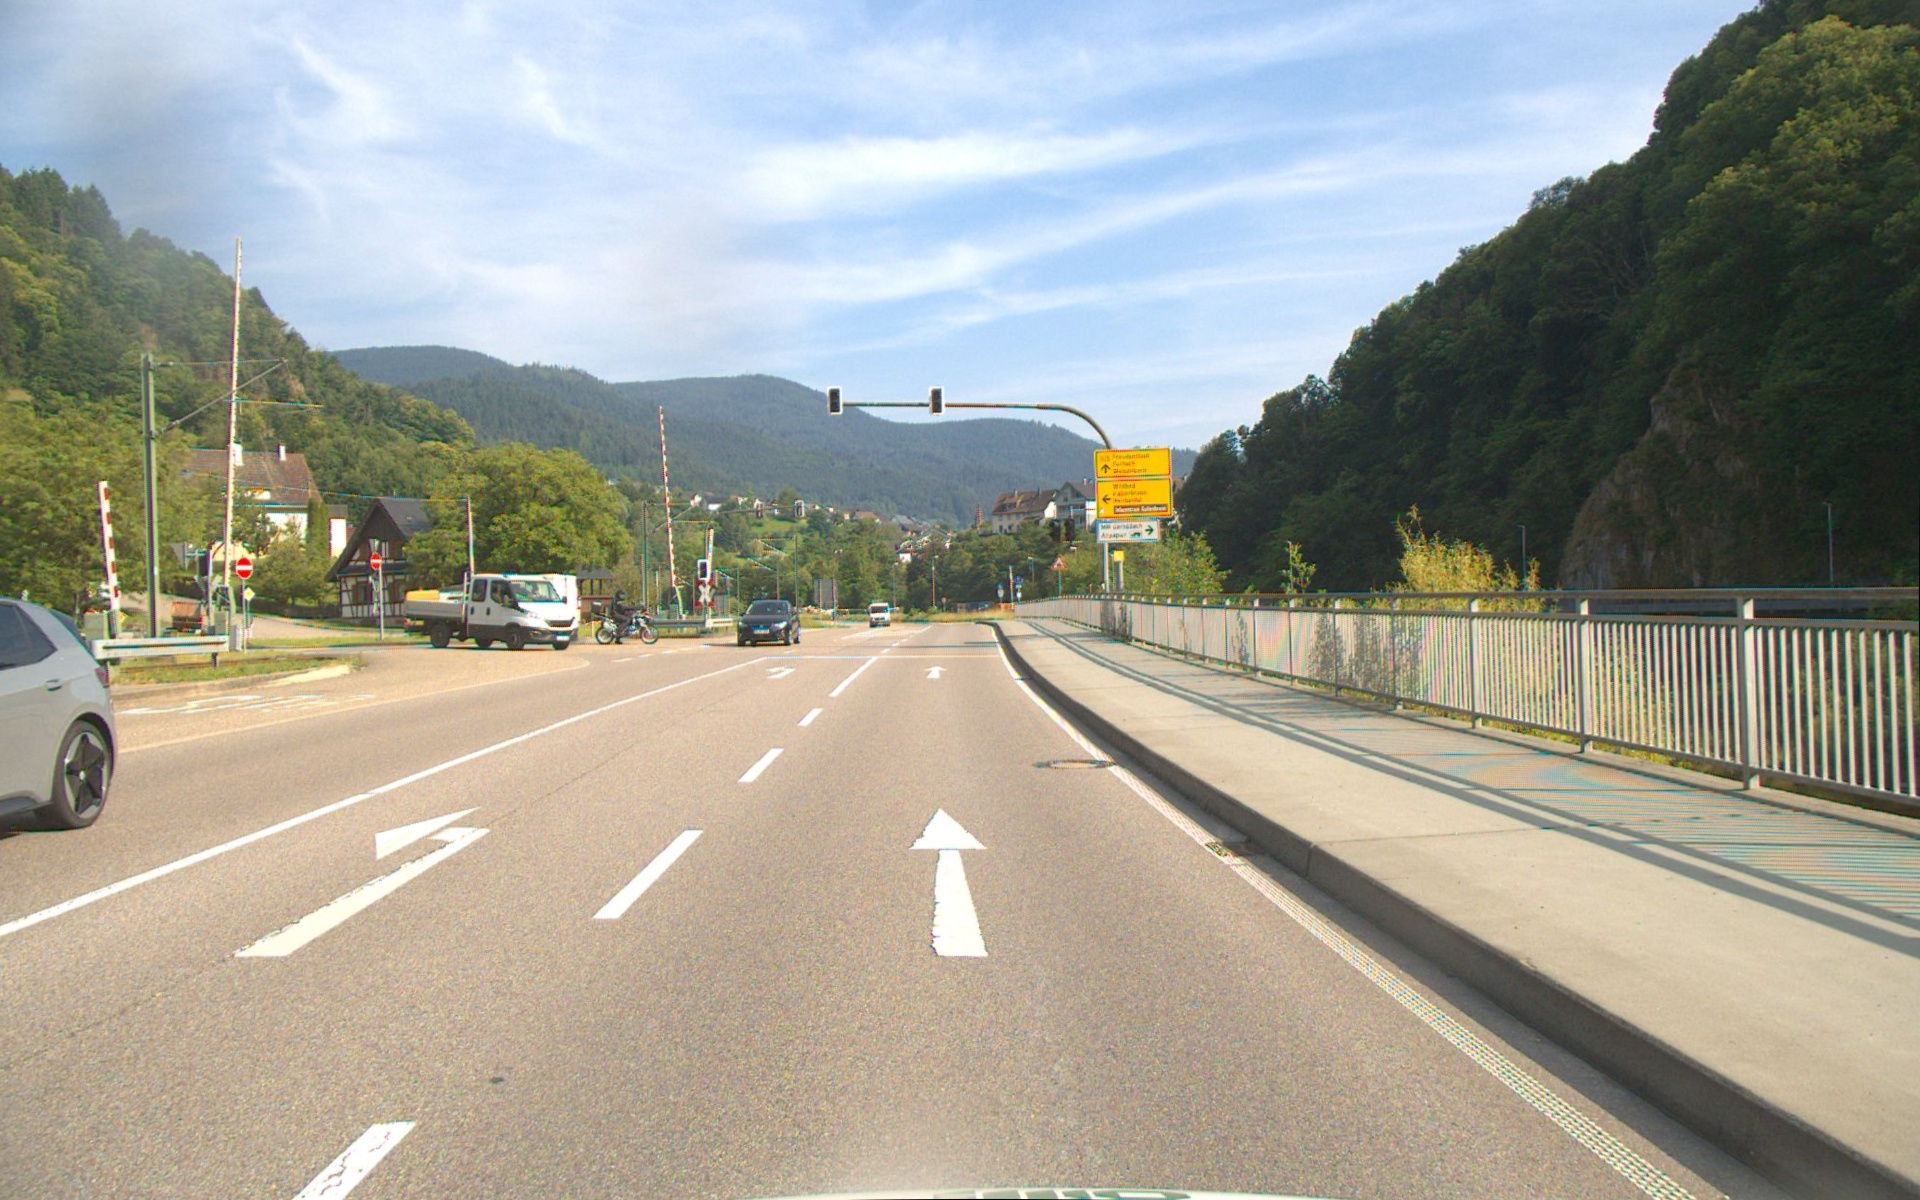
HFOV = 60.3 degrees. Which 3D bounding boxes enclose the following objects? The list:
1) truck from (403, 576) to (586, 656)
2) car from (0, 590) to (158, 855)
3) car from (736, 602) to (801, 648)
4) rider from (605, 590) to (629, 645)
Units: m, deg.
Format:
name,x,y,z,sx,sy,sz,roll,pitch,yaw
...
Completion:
name,x,y,z,sx,sy,sz,roll,pitch,yaw
truck,-14.056,0.485,49.810,5.878,2.306,1.994,-1,-1,34
car,-6.453,0.719,9.462,1.723,1.548,4.203,0,0,-1
car,-6.197,0.783,53.821,1.737,1.441,3.784,-1,0,-1
rider,-11.625,0.598,56.001,0.740,1.851,0.740,0,0,-16
